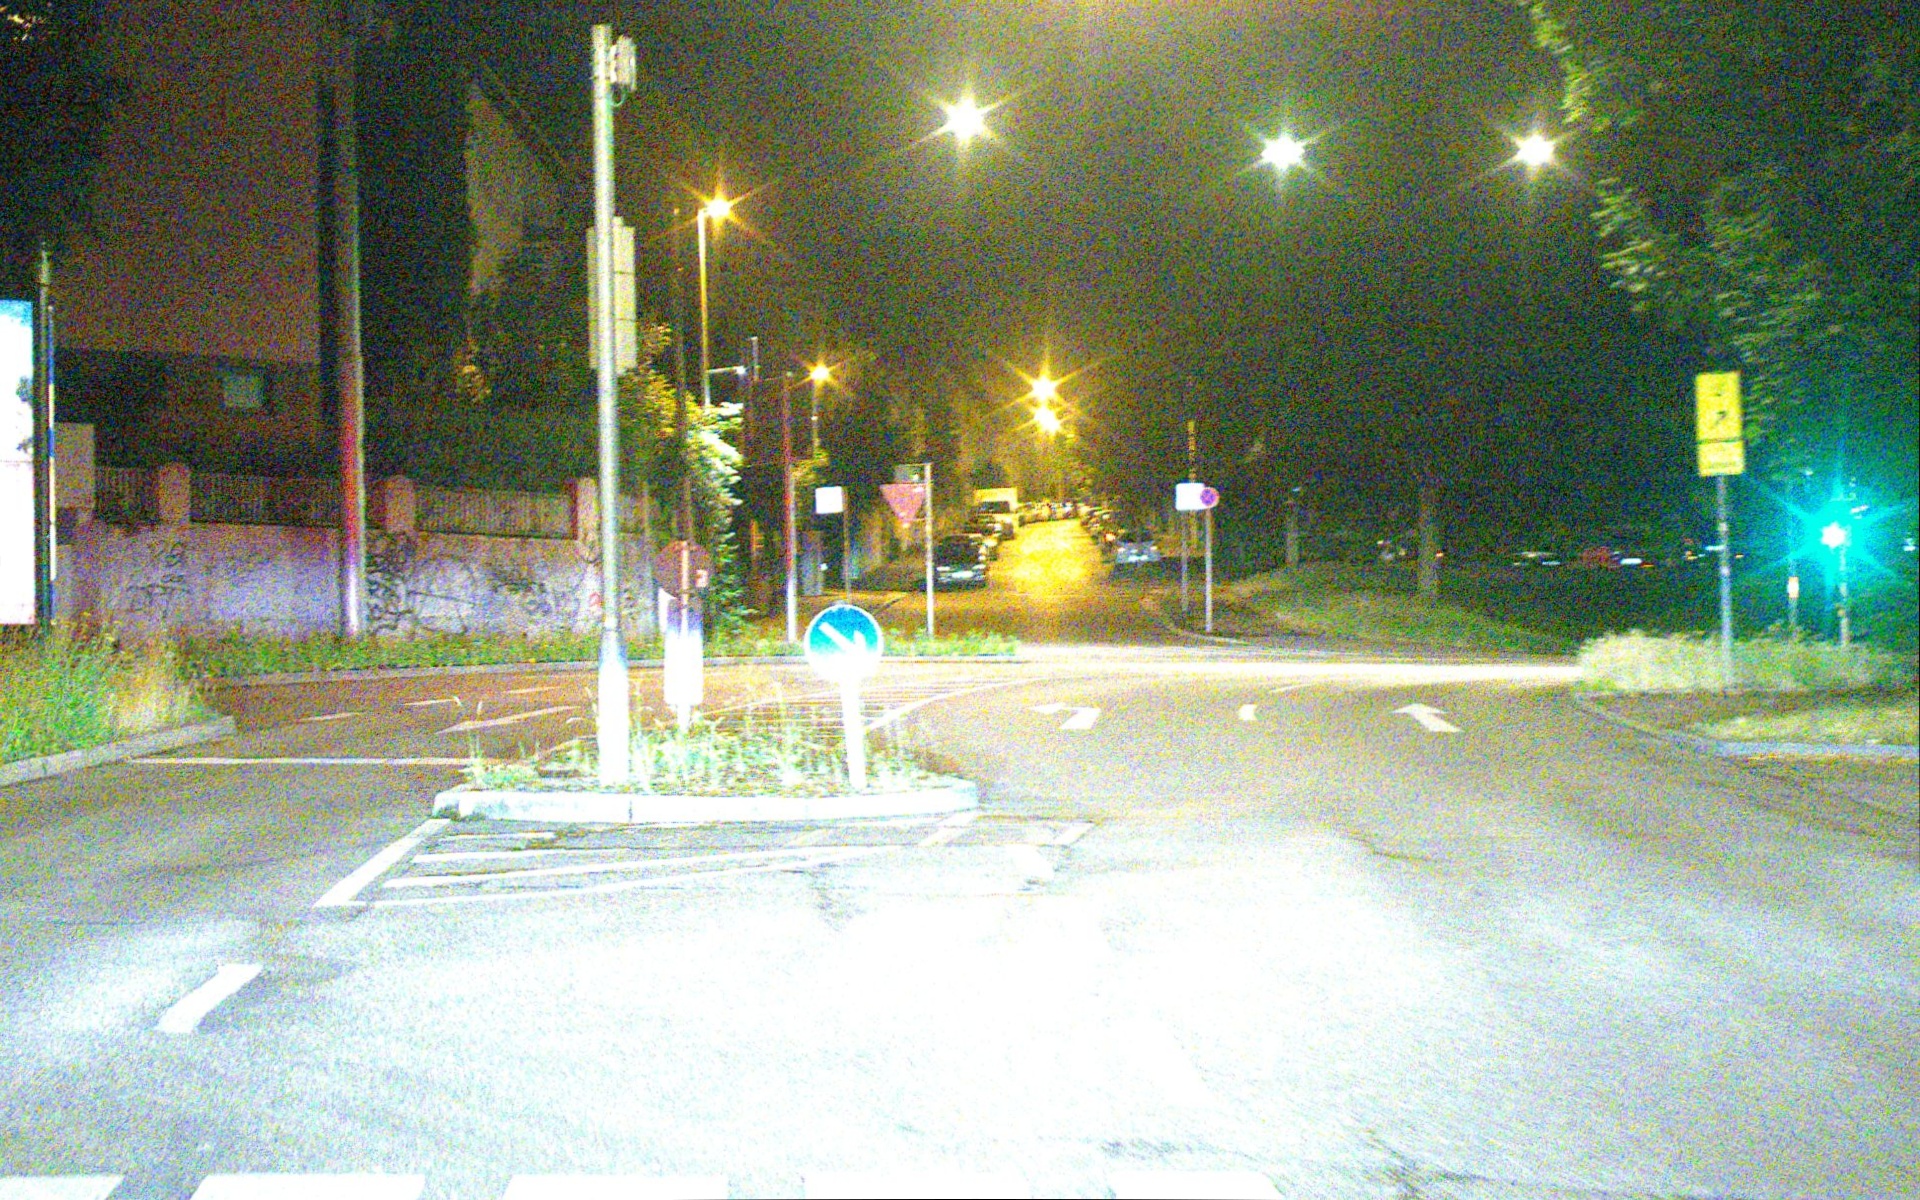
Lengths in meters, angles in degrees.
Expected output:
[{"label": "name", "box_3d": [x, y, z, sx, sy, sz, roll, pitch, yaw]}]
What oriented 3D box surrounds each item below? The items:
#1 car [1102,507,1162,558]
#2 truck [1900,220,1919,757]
[{"label": "car", "box_3d": [6.085, -2.394, 122.076, 1.993, 1.763, 4.000, 0, 1, 1]}, {"label": "truck", "box_3d": [6.061, -0.339, 13.569, 2.764, 3.034, 7.036, -2, 1, 1]}]
